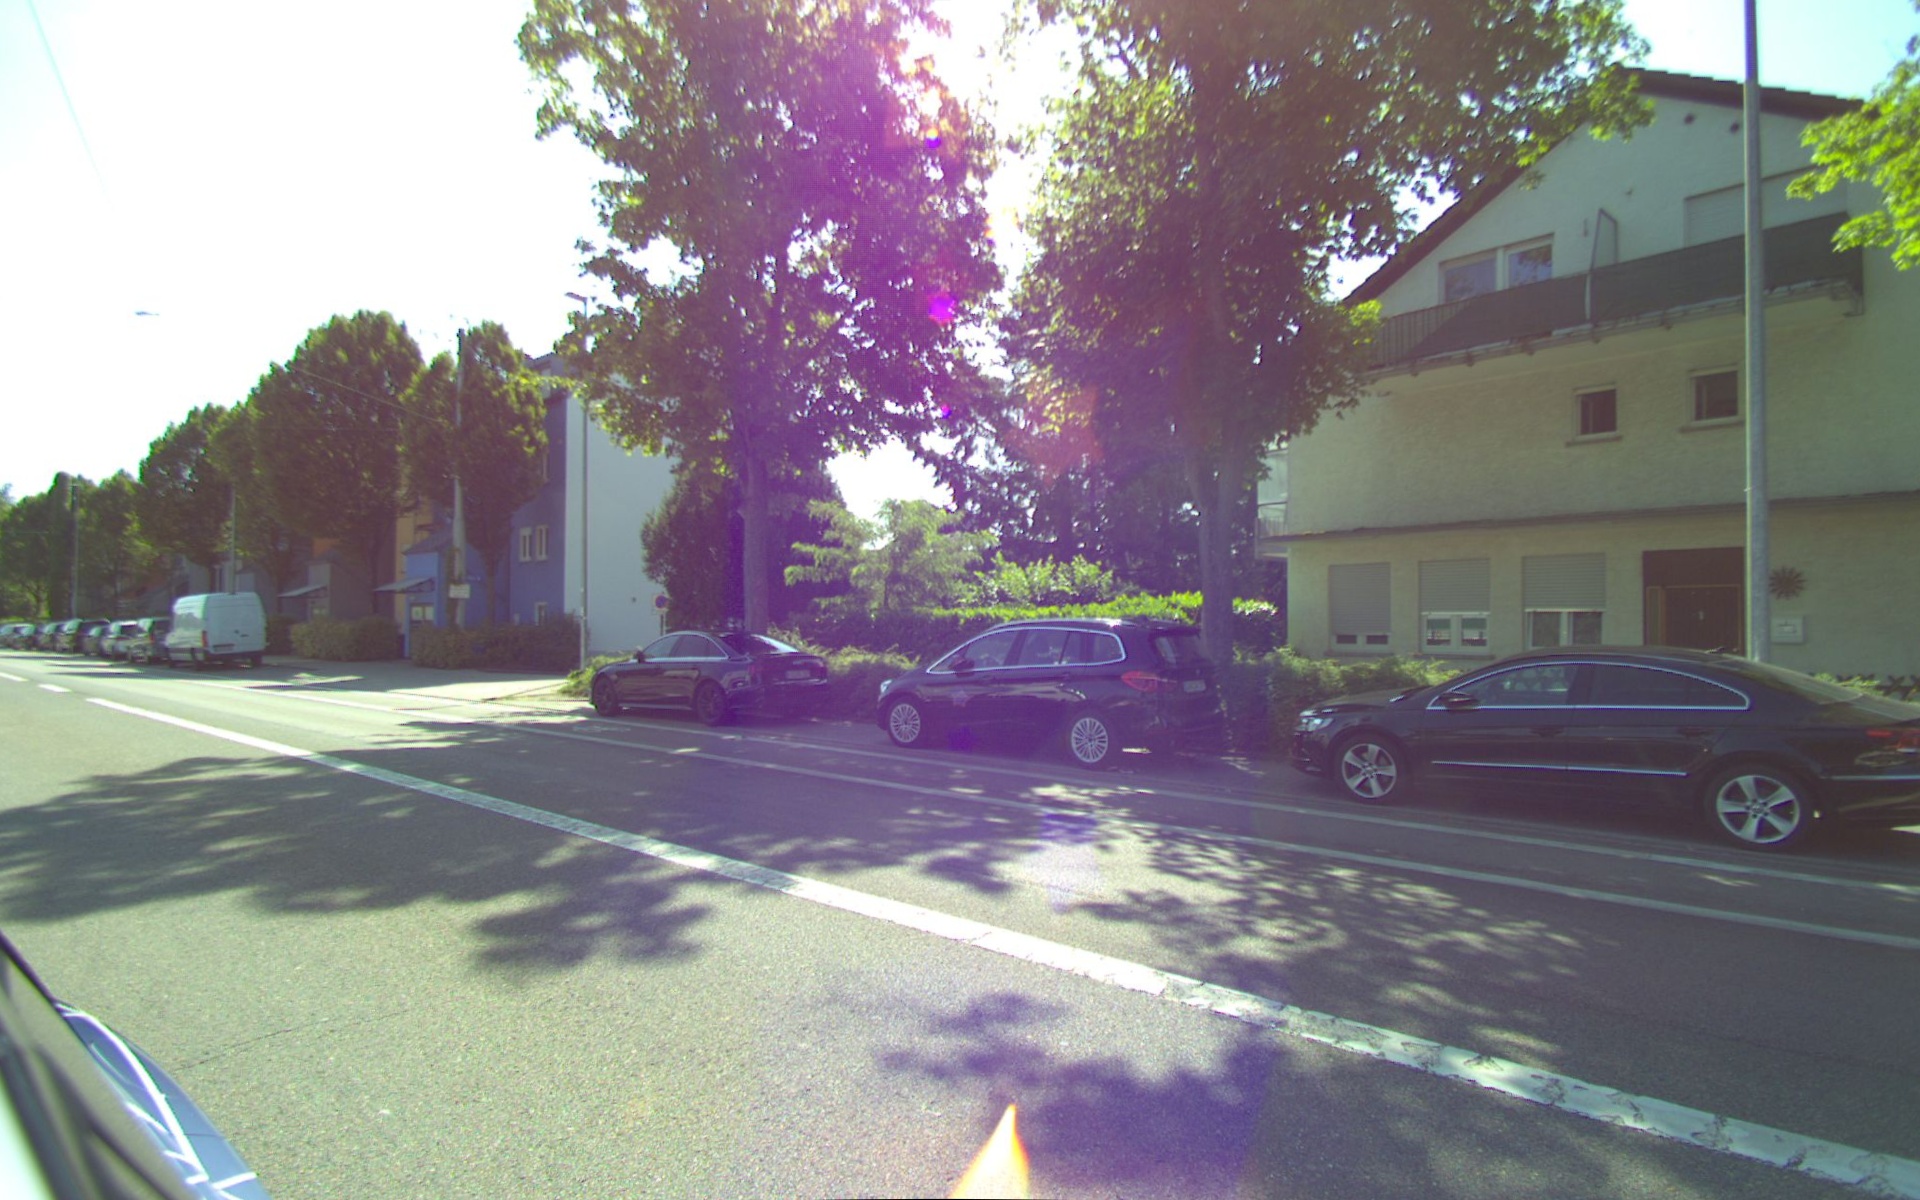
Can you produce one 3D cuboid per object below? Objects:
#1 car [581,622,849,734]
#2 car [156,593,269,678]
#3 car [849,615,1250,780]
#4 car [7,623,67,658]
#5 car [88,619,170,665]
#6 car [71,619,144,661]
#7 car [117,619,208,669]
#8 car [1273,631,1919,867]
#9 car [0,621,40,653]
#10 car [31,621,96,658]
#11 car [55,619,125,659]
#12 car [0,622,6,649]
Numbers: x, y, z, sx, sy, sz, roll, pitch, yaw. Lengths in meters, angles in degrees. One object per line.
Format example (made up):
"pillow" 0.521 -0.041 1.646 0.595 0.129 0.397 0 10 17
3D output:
"car" -4.091 1.156 16.514 4.616 1.583 1.845 -1 -2 39
"car" -27.382 1.242 36.956 6.213 2.713 1.973 -2 4 43
"car" 0.923 1.018 12.247 4.619 1.583 1.844 -1 0 41
"car" -54.879 2.378 60.146 4.766 1.818 1.974 -2 4 41
"car" -38.066 1.880 46.322 4.766 1.818 1.974 -2 4 41
"car" -42.136 1.968 49.996 4.254 1.818 1.974 -2 4 41
"car" -33.529 1.814 42.505 4.766 1.818 1.974 -2 4 41
"car" 5.215 1.011 8.430 4.619 1.426 1.844 -1 0 41
"car" -60.232 2.355 64.256 4.766 1.818 1.974 -2 4 41
"car" -50.240 2.197 56.681 4.766 1.818 1.974 -2 4 41
"car" -45.743 2.028 53.178 4.766 1.818 1.974 -2 4 41
"car" -68.771 2.580 71.084 4.766 1.818 1.974 -2 4 41
